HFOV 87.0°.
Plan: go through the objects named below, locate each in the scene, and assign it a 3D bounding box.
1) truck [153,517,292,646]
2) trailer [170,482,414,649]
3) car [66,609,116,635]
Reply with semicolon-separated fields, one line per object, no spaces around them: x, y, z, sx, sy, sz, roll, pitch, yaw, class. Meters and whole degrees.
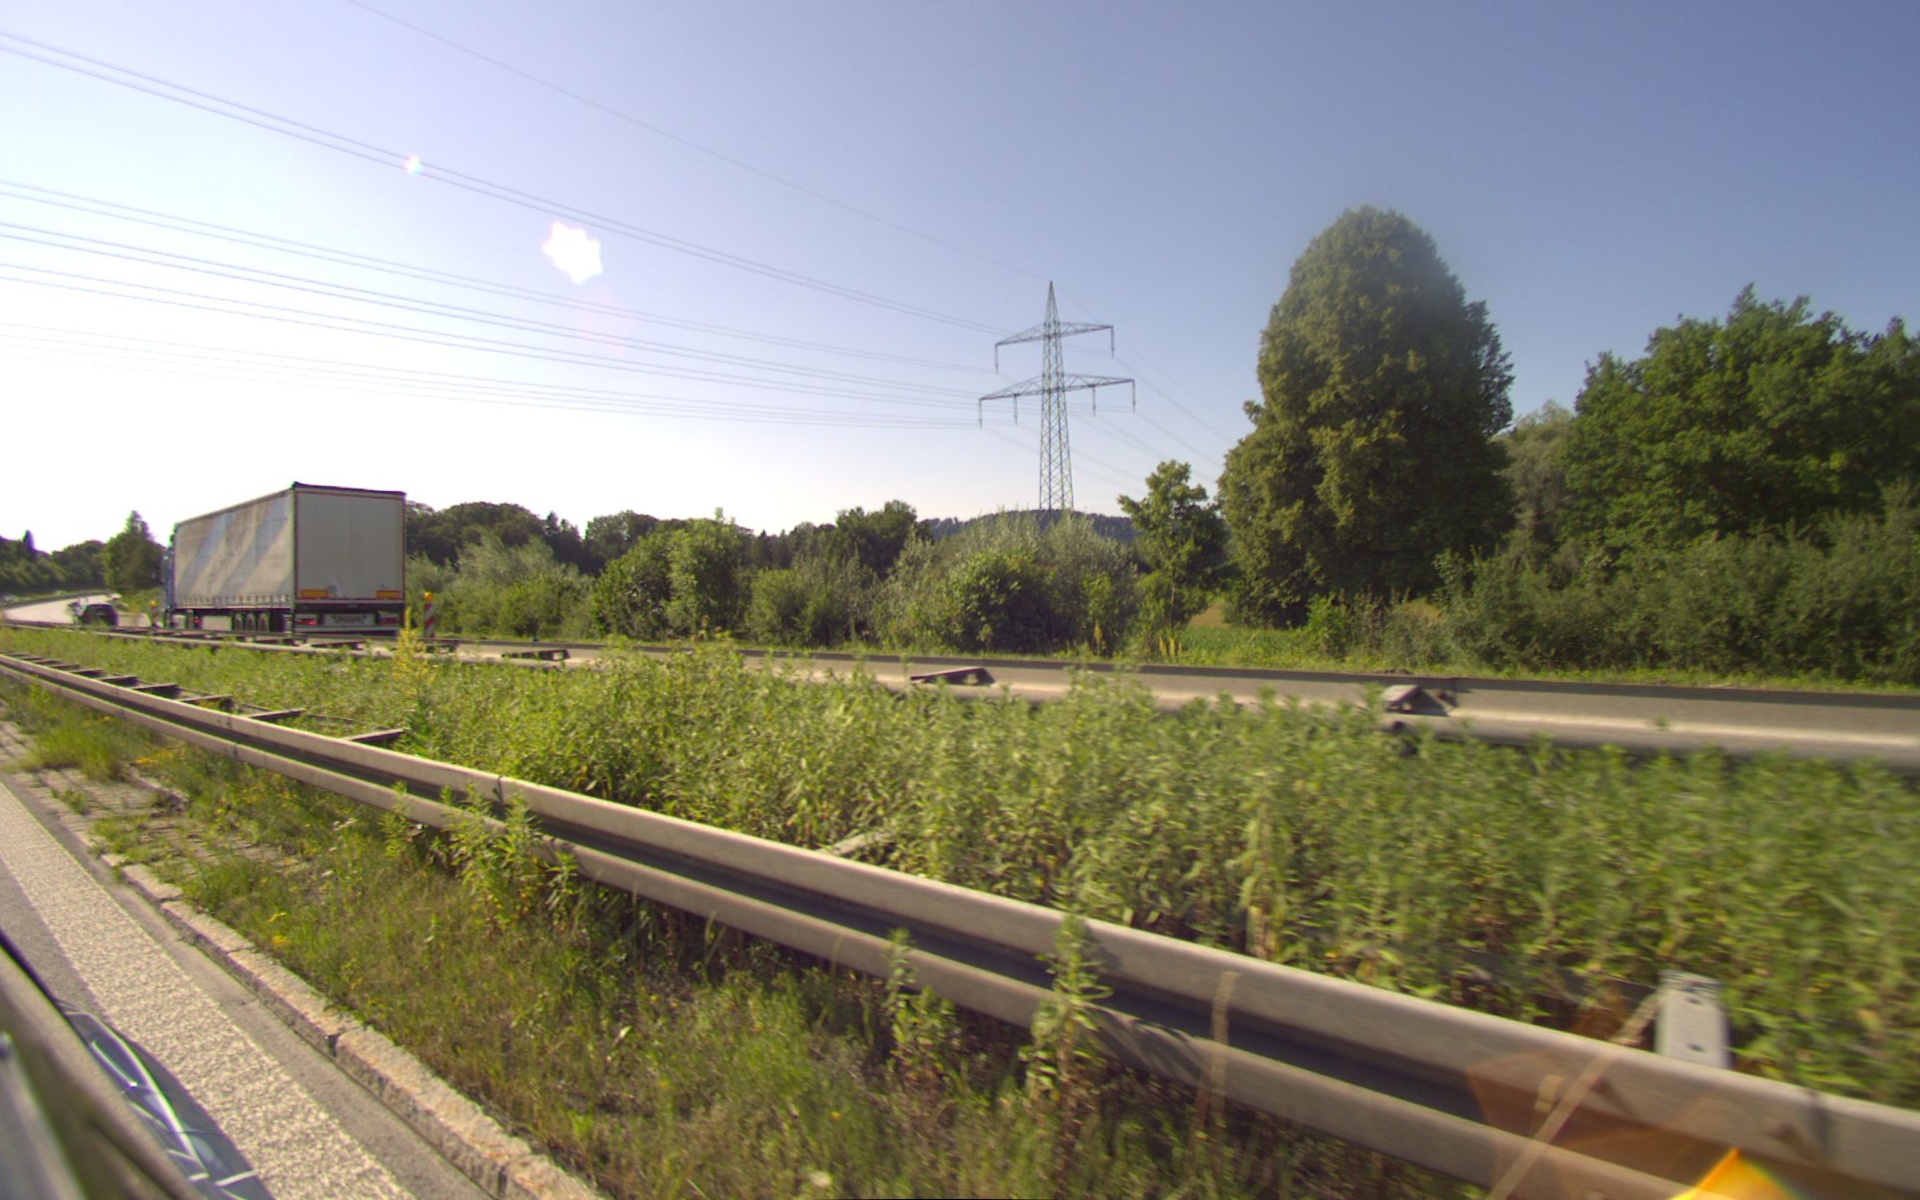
-24.939;-0.550;34.125;5.841;3.989;2.604;-1;0;42;truck
-20.088;-0.696;29.749;13.765;3.984;2.650;-2;-1;42;trailer
-50.562;1.274;58.855;4.269;1.440;1.758;-1;-1;43;car
